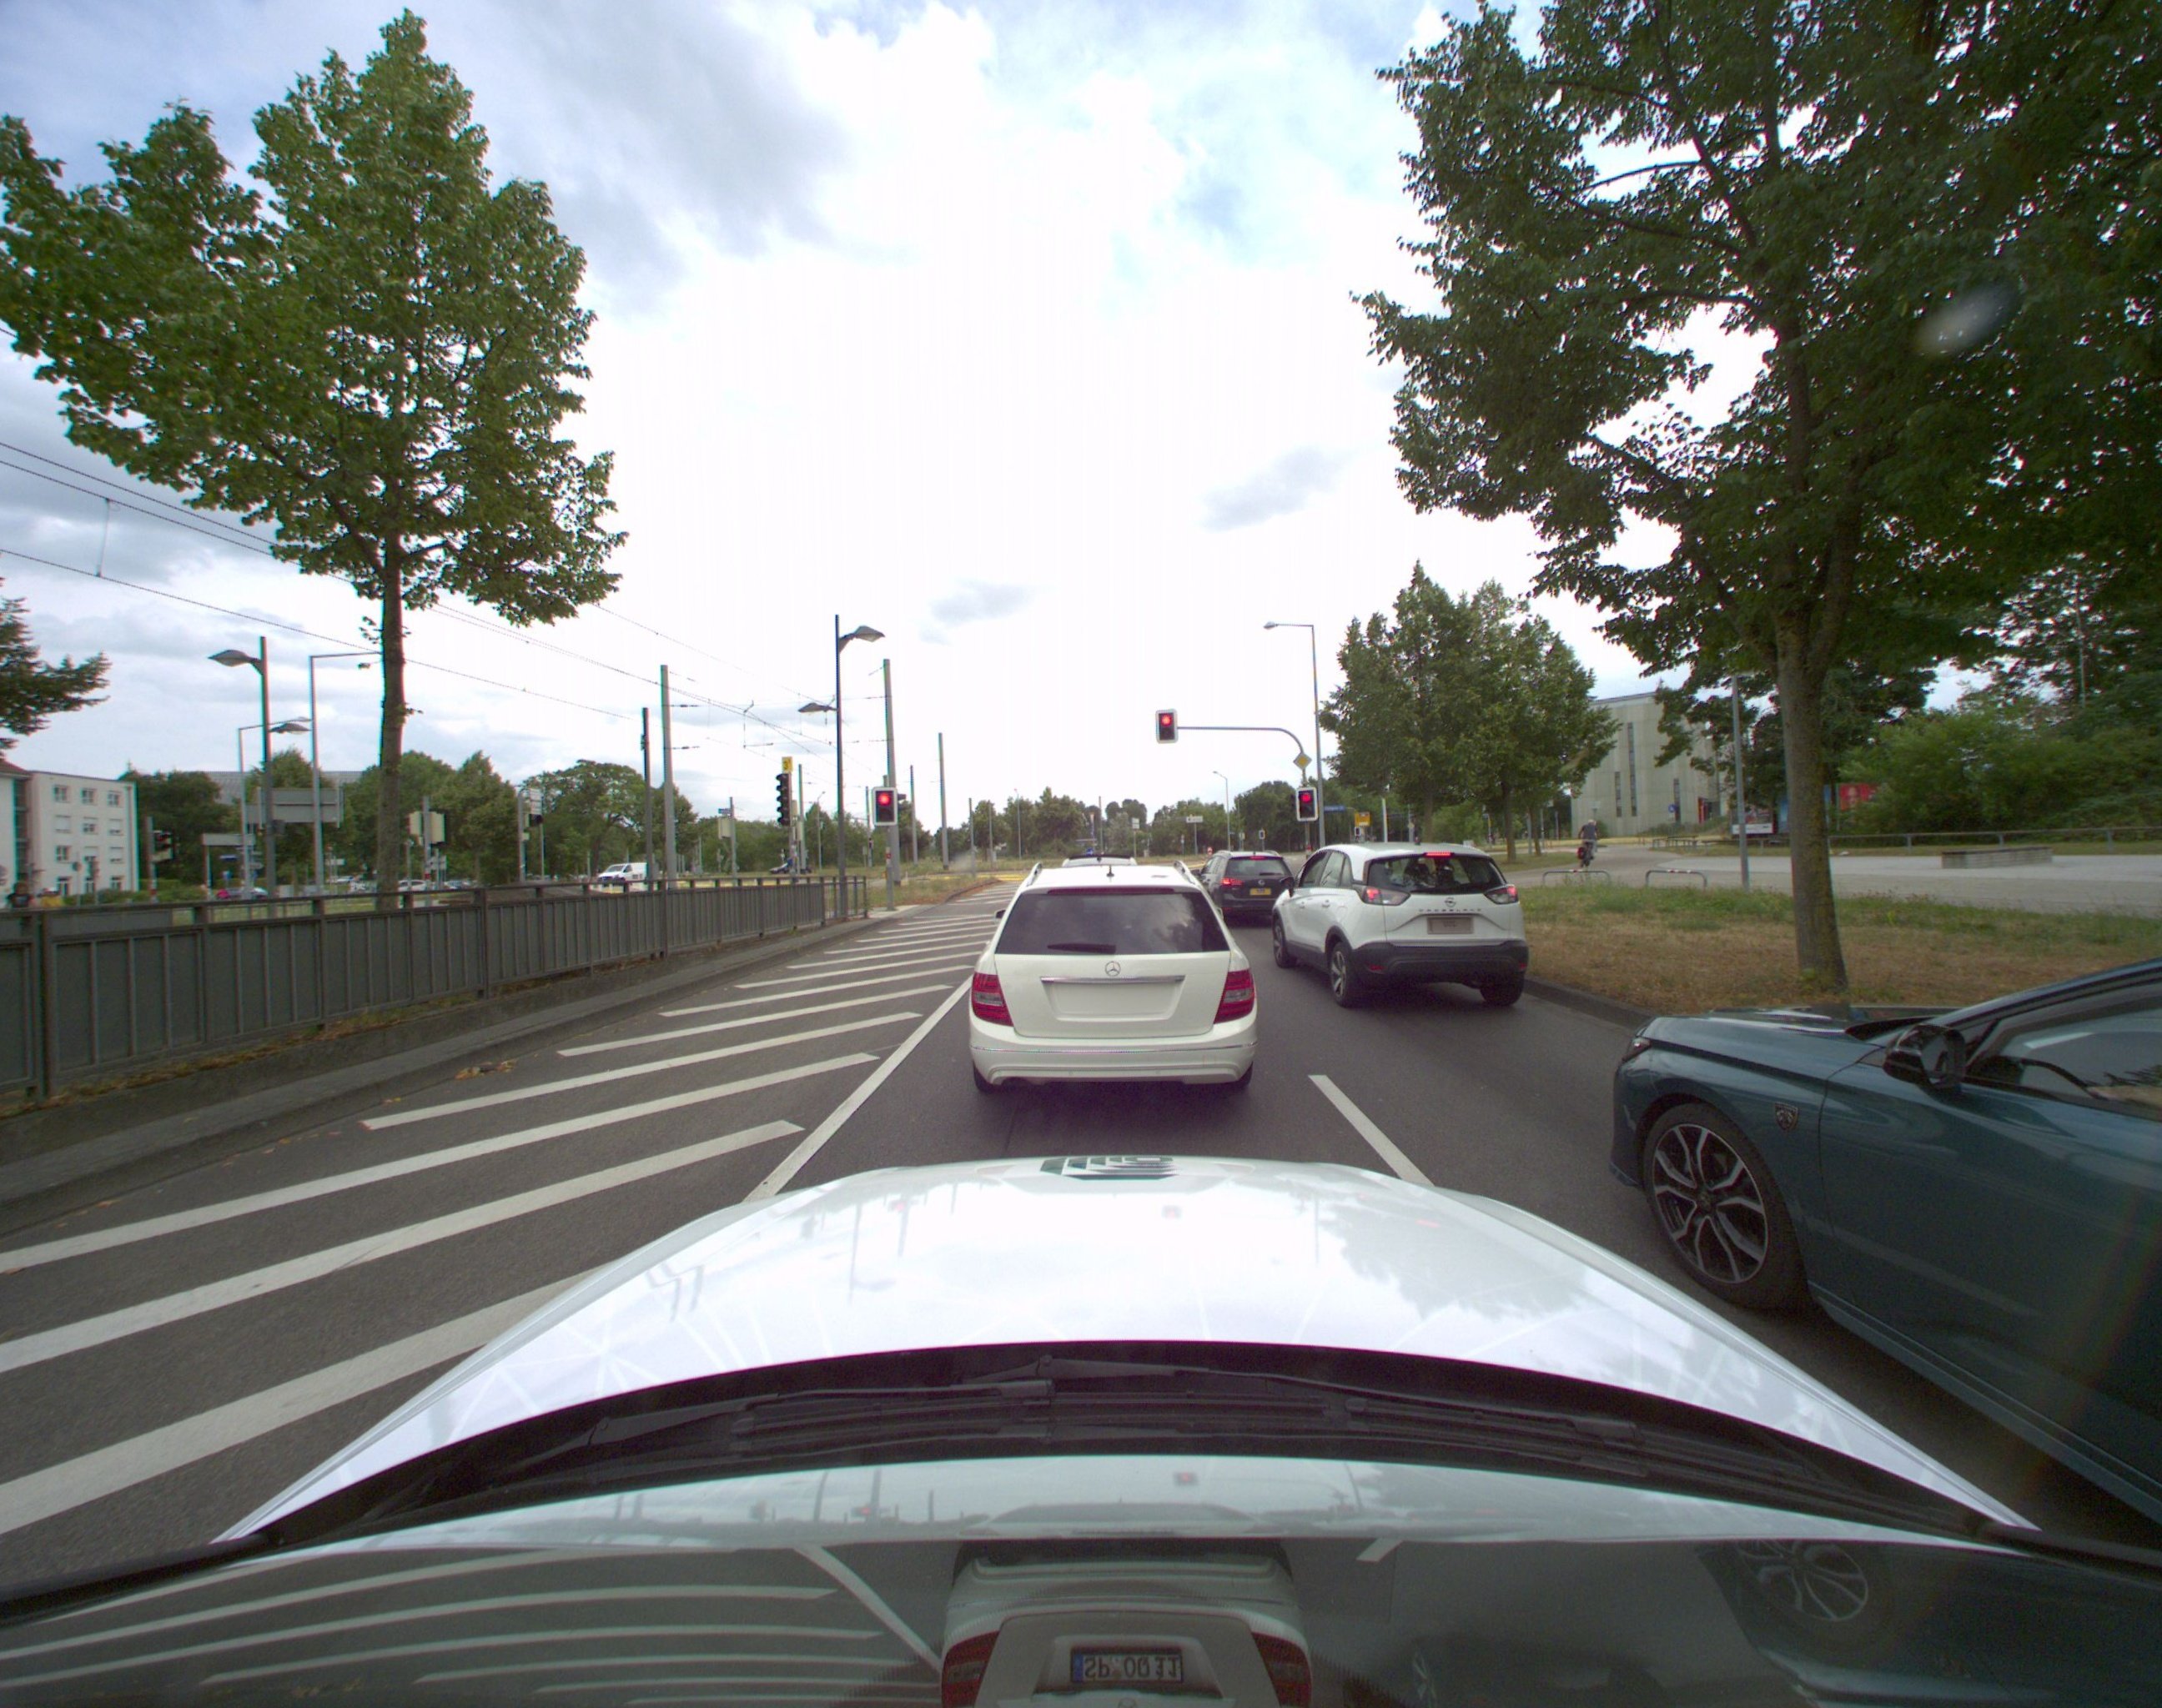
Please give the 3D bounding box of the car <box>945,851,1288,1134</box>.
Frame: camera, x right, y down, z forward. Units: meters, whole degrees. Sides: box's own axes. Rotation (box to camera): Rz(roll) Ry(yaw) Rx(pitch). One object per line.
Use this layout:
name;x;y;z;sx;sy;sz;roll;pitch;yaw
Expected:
car;0.188;0.710;6.195;1.768;1.448;3.910;-1;0;0

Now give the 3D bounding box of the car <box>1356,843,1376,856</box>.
car;41.499;-0.629;118.350;1.974;1.791;4.025;0;0;31

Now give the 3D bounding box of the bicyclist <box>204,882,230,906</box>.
bicyclist;-59.241;2.760;55.846;0.746;1.562;0.891;-2;0;-1

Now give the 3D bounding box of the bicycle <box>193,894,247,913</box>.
bicycle;-59.062;3.402;55.885;2.691;1.129;0.809;-2;0;-2

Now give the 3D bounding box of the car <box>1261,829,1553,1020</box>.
car;3.311;0.614;9.155;1.780;1.624;3.912;-2;0;2

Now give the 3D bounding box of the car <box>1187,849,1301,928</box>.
car;3.300;0.635;17.195;1.619;1.448;3.910;-1;0;0

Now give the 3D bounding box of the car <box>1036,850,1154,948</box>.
car;0.210;0.674;14.273;1.768;1.448;3.910;-1;0;0

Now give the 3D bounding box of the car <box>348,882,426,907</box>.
car;-52.001;3.012;61.075;1.974;1.641;4.025;0;0;33

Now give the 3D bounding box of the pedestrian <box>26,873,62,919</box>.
pedestrian;-46.740;1.883;36.718;0.804;2.013;0.899;-2;0;-43

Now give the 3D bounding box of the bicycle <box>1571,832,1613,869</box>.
bicycle;18.189;-0.138;28.956;0.893;1.235;2.282;-2;0;41

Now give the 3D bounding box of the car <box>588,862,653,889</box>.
car;-38.423;1.781;68.104;1.982;2.013;5.011;-2;0;8

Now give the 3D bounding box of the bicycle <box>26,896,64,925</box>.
bicycle;-46.688;2.516;36.724;0.616;1.136;2.535;1;0;-42

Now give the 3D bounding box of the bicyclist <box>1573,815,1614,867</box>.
bicyclist;18.252;-0.472;29.001;0.987;1.737;1.136;-5;0;40

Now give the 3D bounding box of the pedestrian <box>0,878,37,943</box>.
pedestrian;-31.555;1.663;24.108;0.652;1.850;0.486;-2;0;-38

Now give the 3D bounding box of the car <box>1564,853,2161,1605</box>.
car;2.998;0.739;1.336;1.782;1.432;4.308;-1;0;-1
